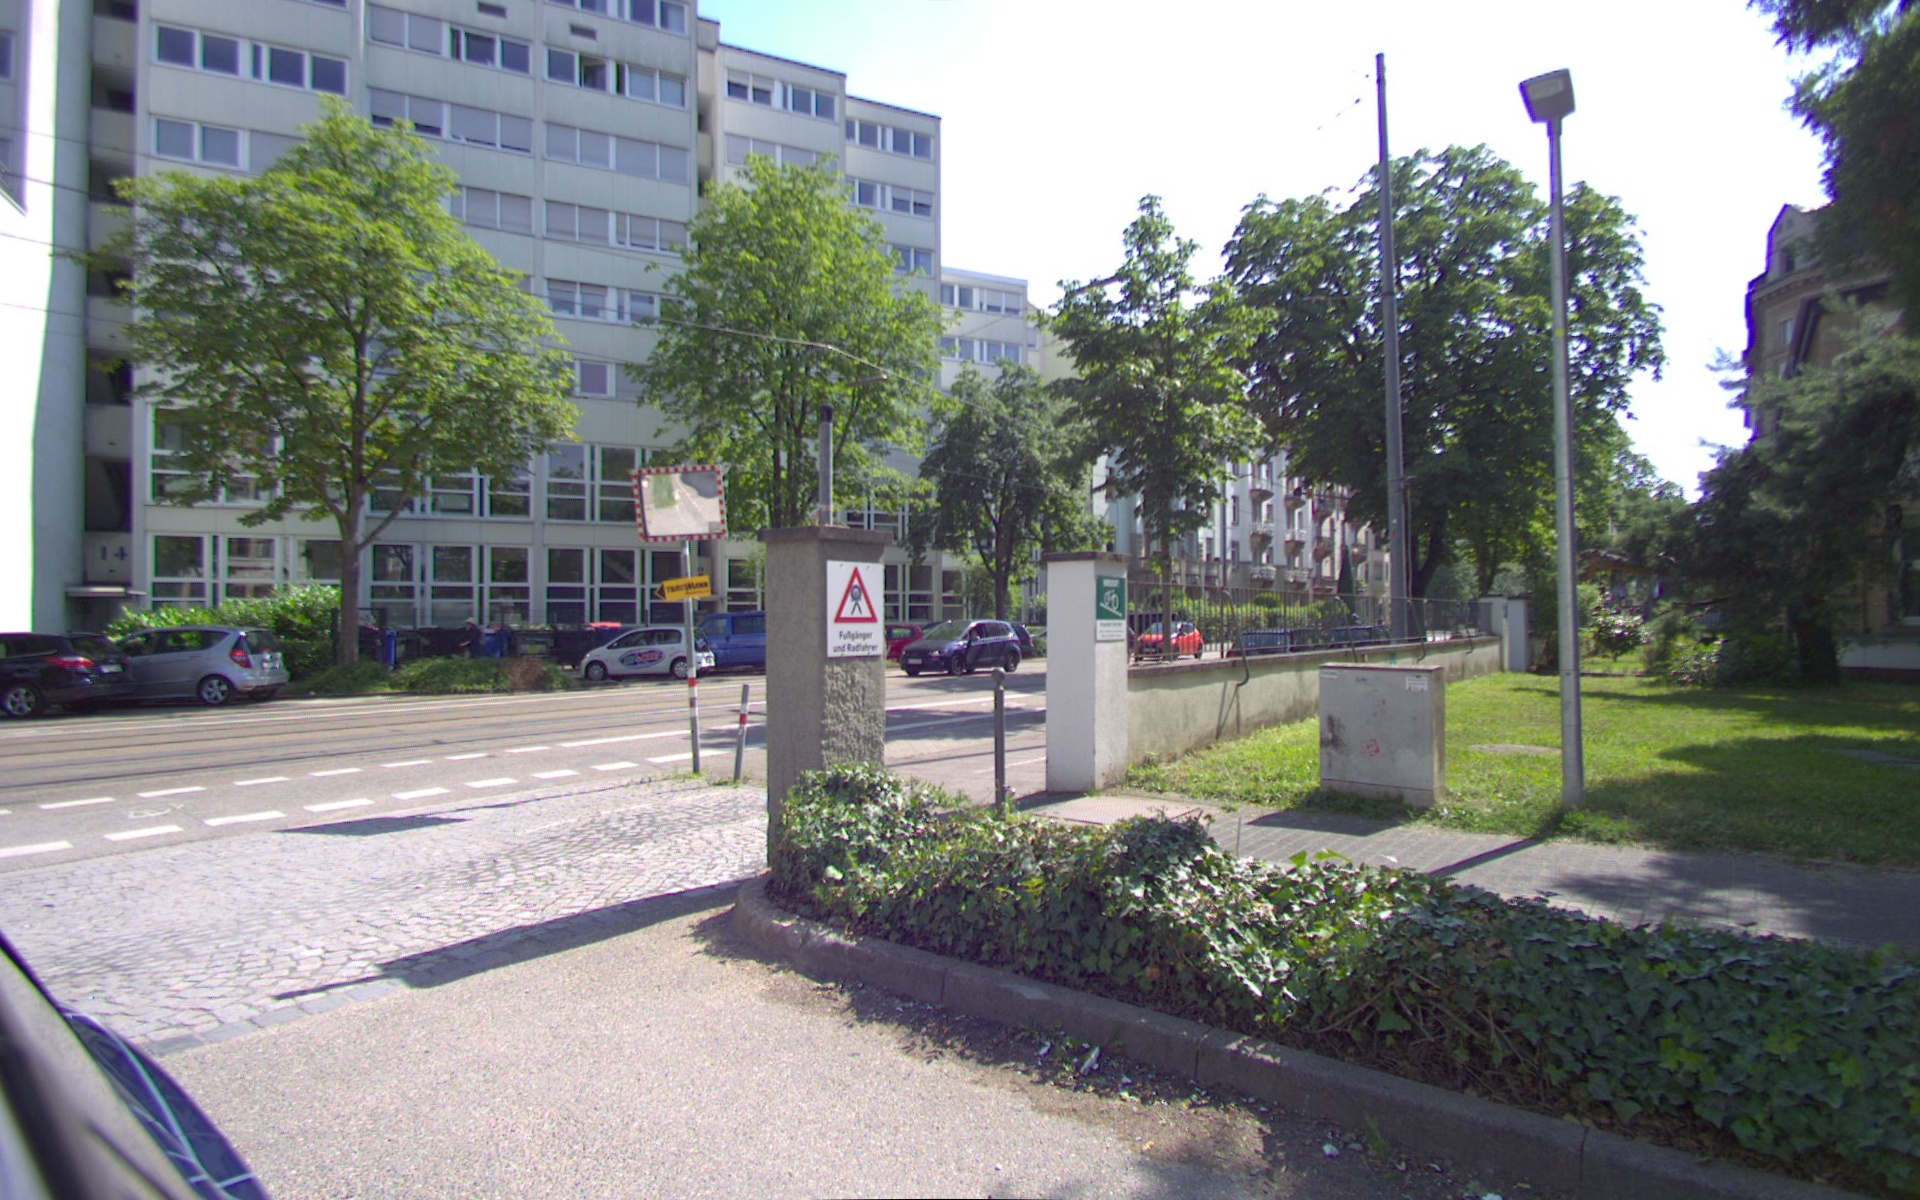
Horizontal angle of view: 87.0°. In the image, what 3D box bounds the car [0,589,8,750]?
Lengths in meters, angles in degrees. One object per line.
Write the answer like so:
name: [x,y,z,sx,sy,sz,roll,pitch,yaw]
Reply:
car: [-14.002,0.843,10.932,1.993,1.960,5.182,-2,-2,38]
